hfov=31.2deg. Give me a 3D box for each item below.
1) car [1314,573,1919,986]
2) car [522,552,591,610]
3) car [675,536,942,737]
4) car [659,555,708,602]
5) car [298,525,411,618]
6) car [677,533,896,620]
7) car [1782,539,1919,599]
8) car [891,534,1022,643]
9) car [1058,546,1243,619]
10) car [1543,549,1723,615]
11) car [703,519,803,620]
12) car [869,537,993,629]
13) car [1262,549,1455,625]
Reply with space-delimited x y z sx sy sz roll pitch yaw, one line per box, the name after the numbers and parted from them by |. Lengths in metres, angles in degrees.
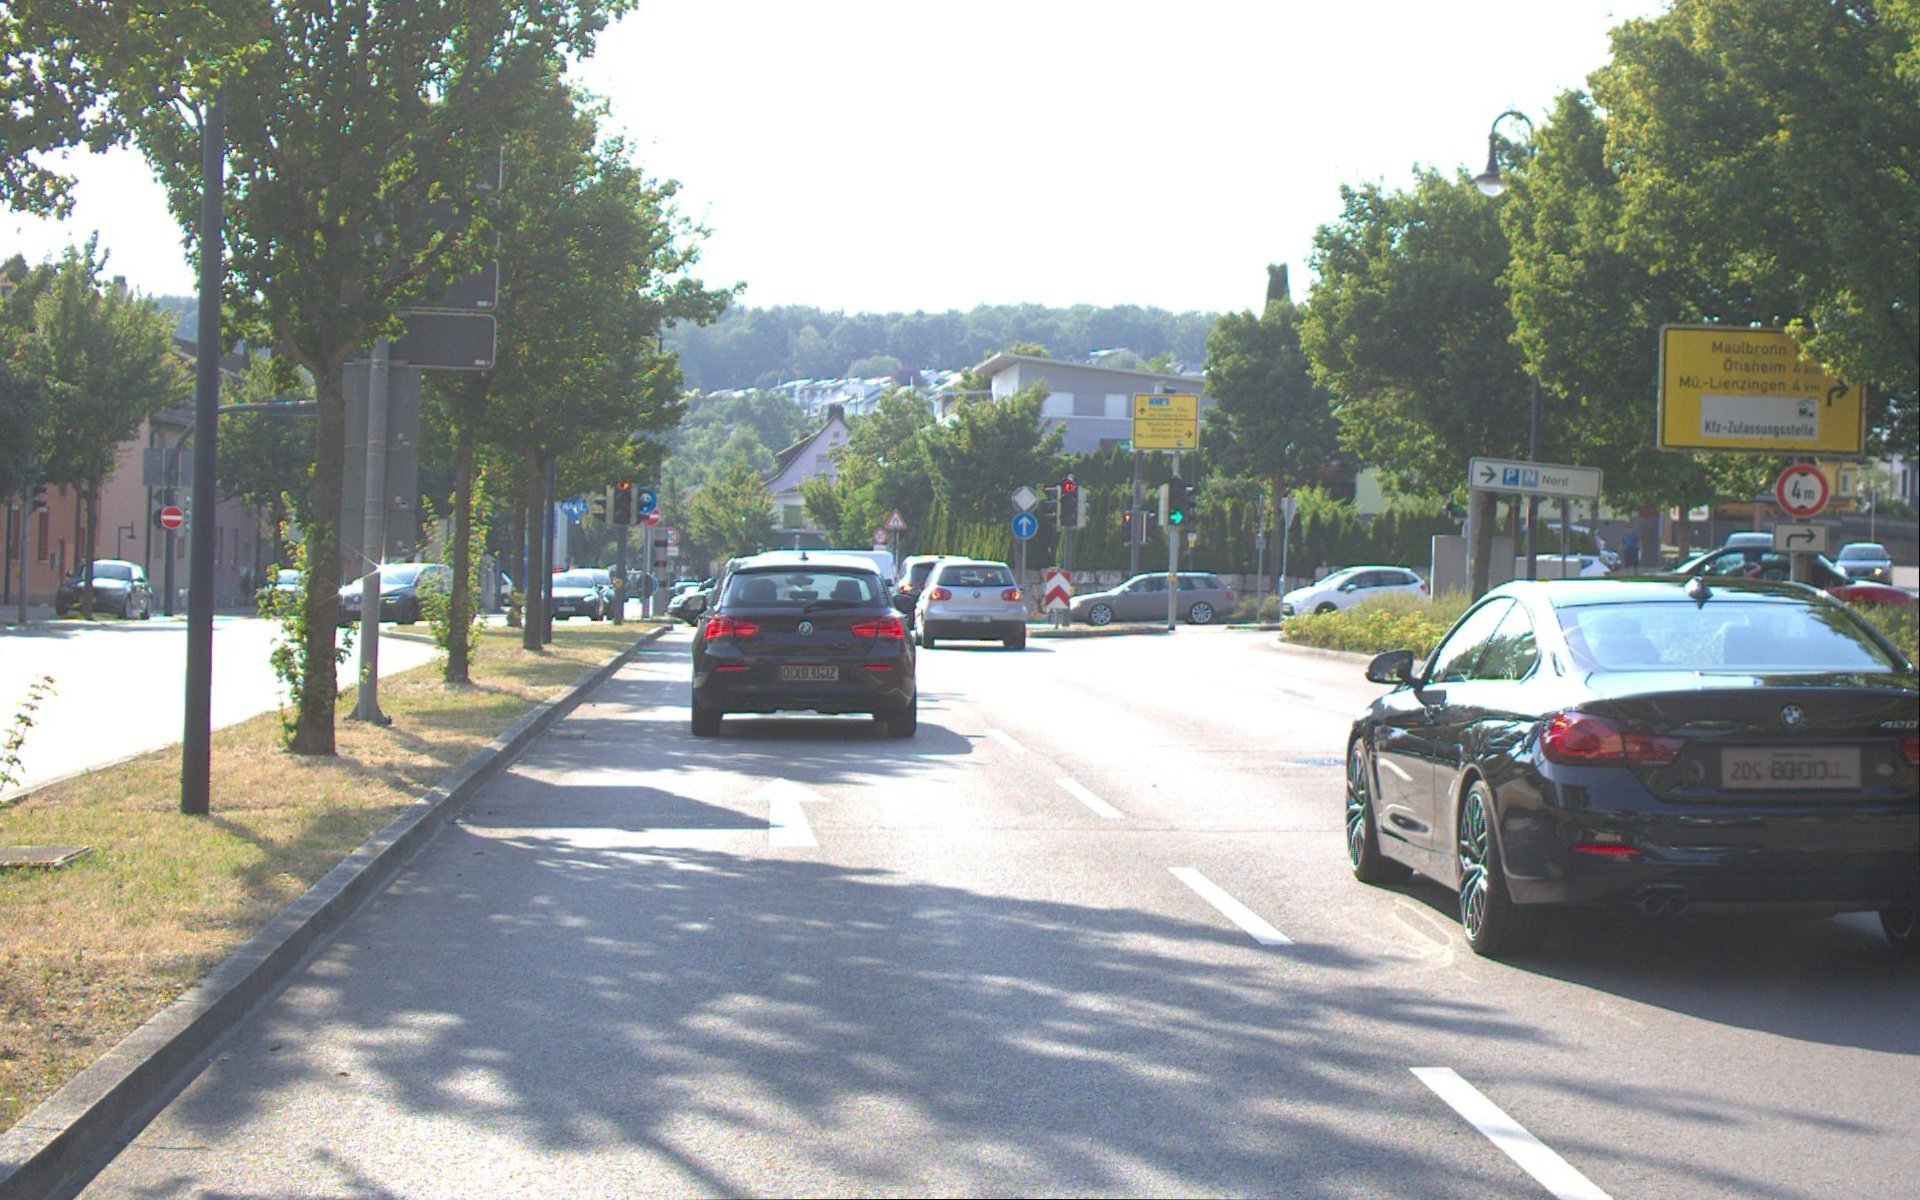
2.689 0.591 13.764 1.920 1.359 4.353 0 1 -2 | car
-12.071 -0.580 103.016 1.730 1.673 4.001 0 1 -2 | car
-1.161 0.232 28.233 1.721 1.485 4.352 1 1 3 | car
-12.176 -0.959 151.676 1.772 2.007 4.000 1 1 1 | car
-13.536 -0.673 77.043 2.139 2.002 5.126 1 1 -6 | car
-4.394 -0.600 87.030 5.107 2.122 2.147 0 1 -22 | car
28.253 -0.958 107.358 4.630 1.823 2.000 0 1 -6 | car
-0.104 -0.235 58.499 1.925 1.763 4.455 0 1 -4 | car
5.237 -0.487 95.010 4.947 1.922 2.147 1 1 -1 | car
19.114 -0.529 97.794 4.630 1.823 2.000 0 1 -6 | car
-3.781 -0.575 62.631 1.756 1.763 3.972 0 1 -4 | car
-0.623 -0.367 69.022 2.216 1.763 4.455 0 1 -4 | car
10.456 -0.348 90.327 4.533 1.922 2.147 0 1 -14 | car
